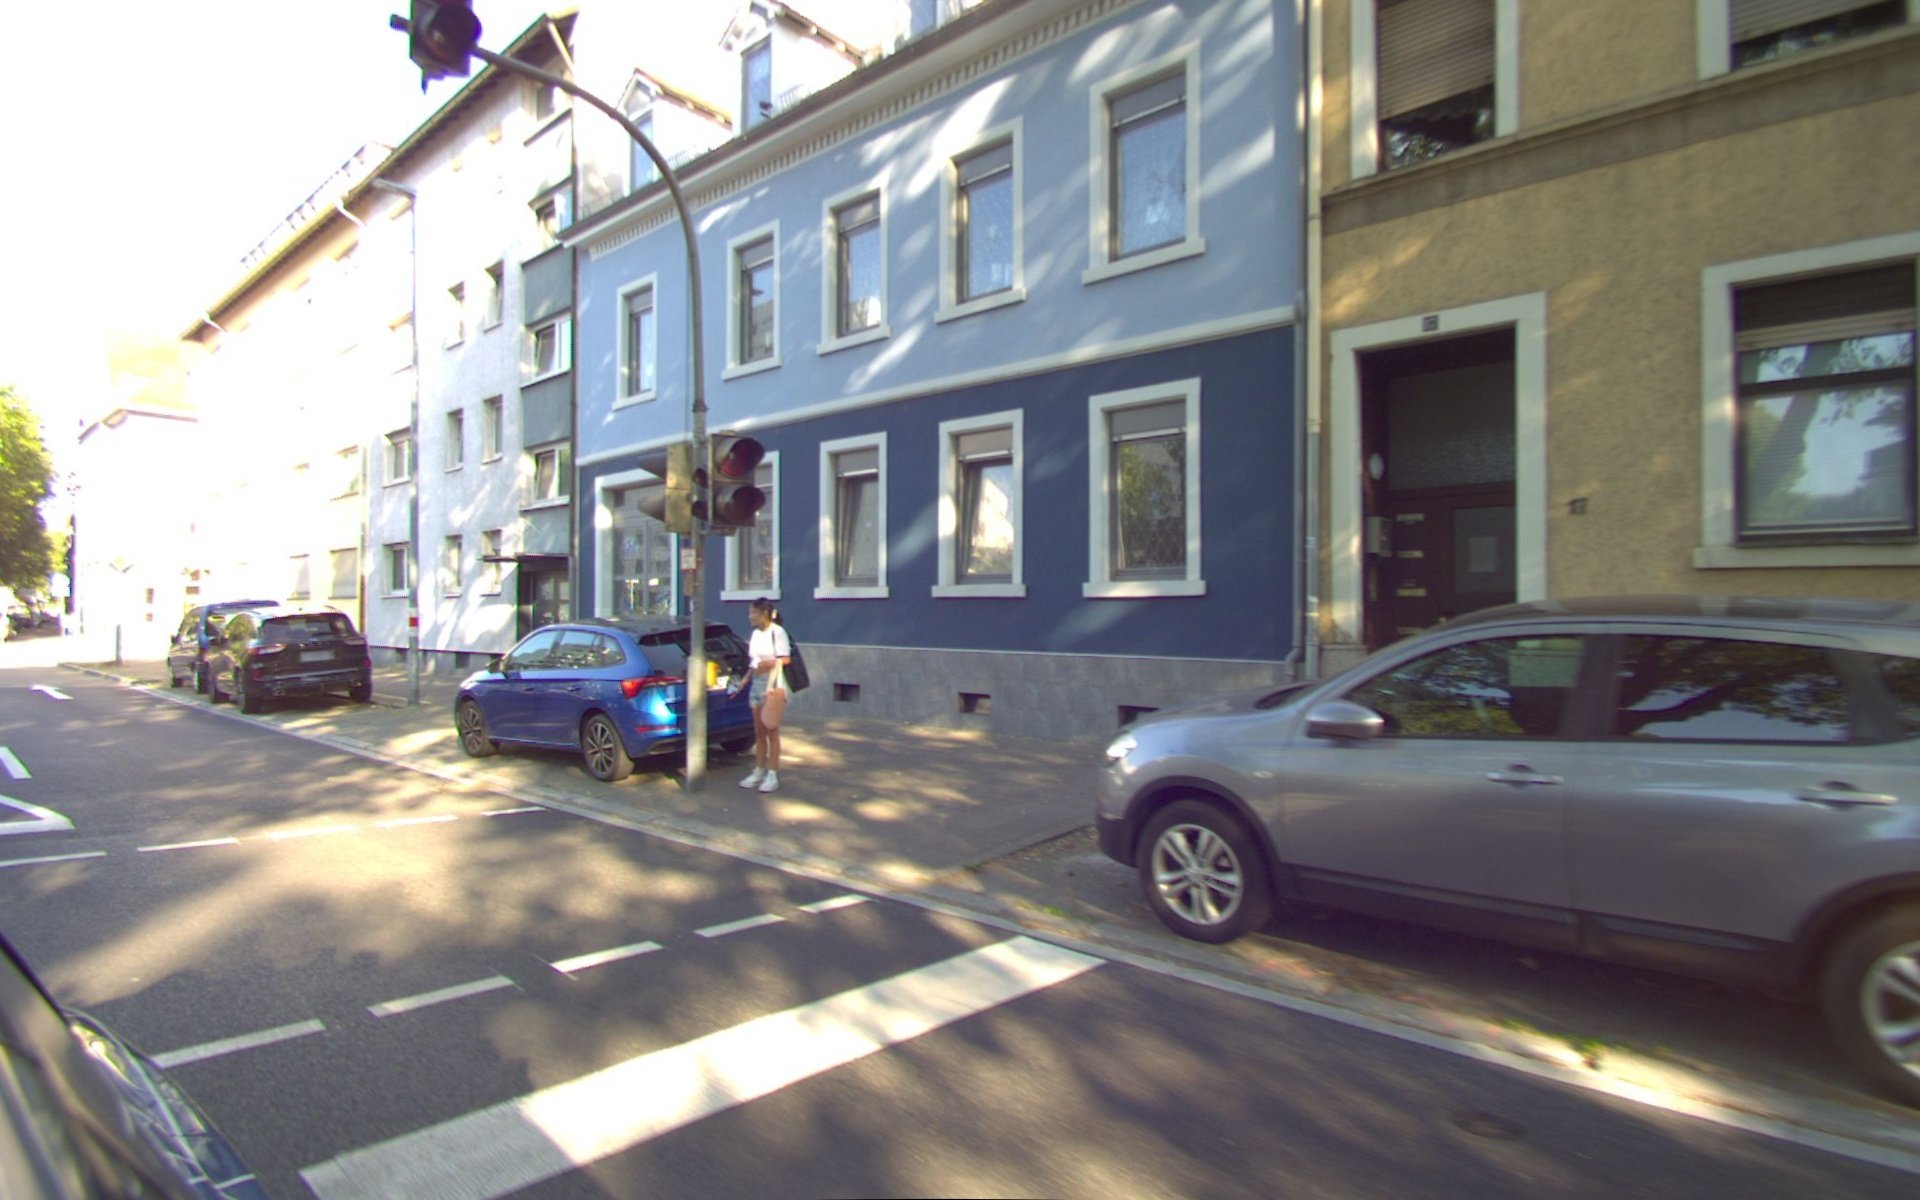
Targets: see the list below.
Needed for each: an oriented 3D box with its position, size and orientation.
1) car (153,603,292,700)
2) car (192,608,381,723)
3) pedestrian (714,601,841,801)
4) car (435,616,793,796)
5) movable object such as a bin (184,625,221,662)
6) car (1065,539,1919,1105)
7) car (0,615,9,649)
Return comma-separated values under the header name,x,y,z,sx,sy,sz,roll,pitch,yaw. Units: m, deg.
name,x,y,z,sx,sy,sz,roll,pitch,yaw
car,-15.525,1.006,21.233,4.005,1.832,1.646,-1,0,43
car,-11.662,1.012,17.396,1.884,1.685,4.495,-1,0,-45
pedestrian,-1.543,0.810,8.544,0.851,1.582,0.708,1,-2,-31
car,-3.782,0.947,10.672,4.259,1.498,1.633,-1,0,41
movable object such as a bin,-27.247,1.549,36.401,1.018,1.296,1.064,1,-2,-37
car,2.664,0.664,4.389,4.155,1.685,1.762,-1,0,42
car,-52.566,1.699,54.397,4.000,1.806,1.872,-1,-2,43
